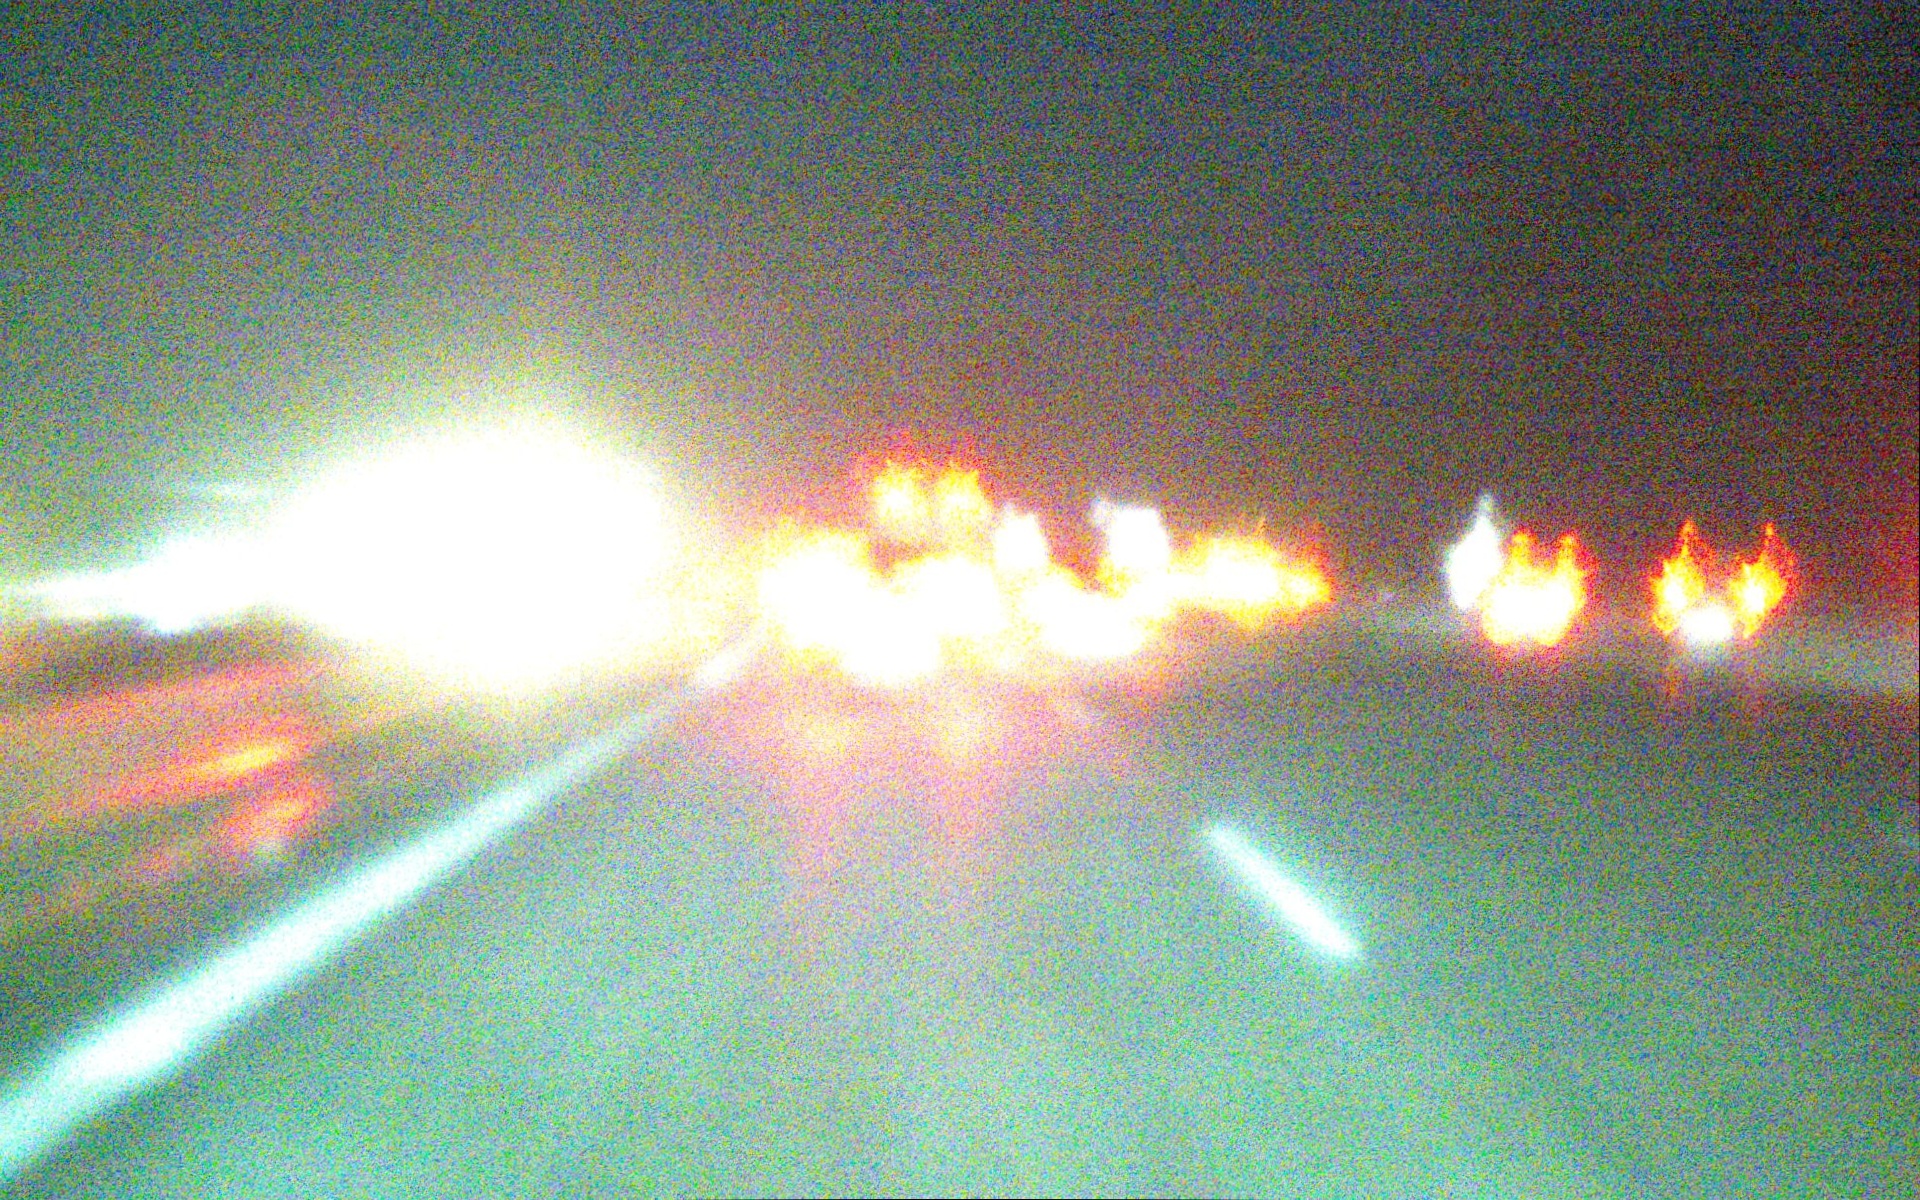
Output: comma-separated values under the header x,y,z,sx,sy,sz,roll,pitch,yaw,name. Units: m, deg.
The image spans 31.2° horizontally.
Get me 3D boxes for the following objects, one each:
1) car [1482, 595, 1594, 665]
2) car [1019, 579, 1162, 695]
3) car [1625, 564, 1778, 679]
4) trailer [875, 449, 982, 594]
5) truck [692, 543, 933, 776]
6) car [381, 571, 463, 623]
x,y,z,sx,sy,sz,roll,pitch,yaw,name
14.750,0.757,87.864,1.993,1.595,4.000,3,1,-2,car
1.901,0.513,51.180,1.800,1.612,4.257,-1,1,-2,car
14.047,0.379,65.319,2.233,2.007,4.000,2,1,4,car
-1.297,-3.093,129.773,2.738,4.232,13.379,3,6,-5,trailer
-1.427,0.522,35.636,2.145,2.070,6.604,3,1,-1,truck
-16.053,-0.097,102.743,1.804,1.401,4.288,3,1,-1,car
